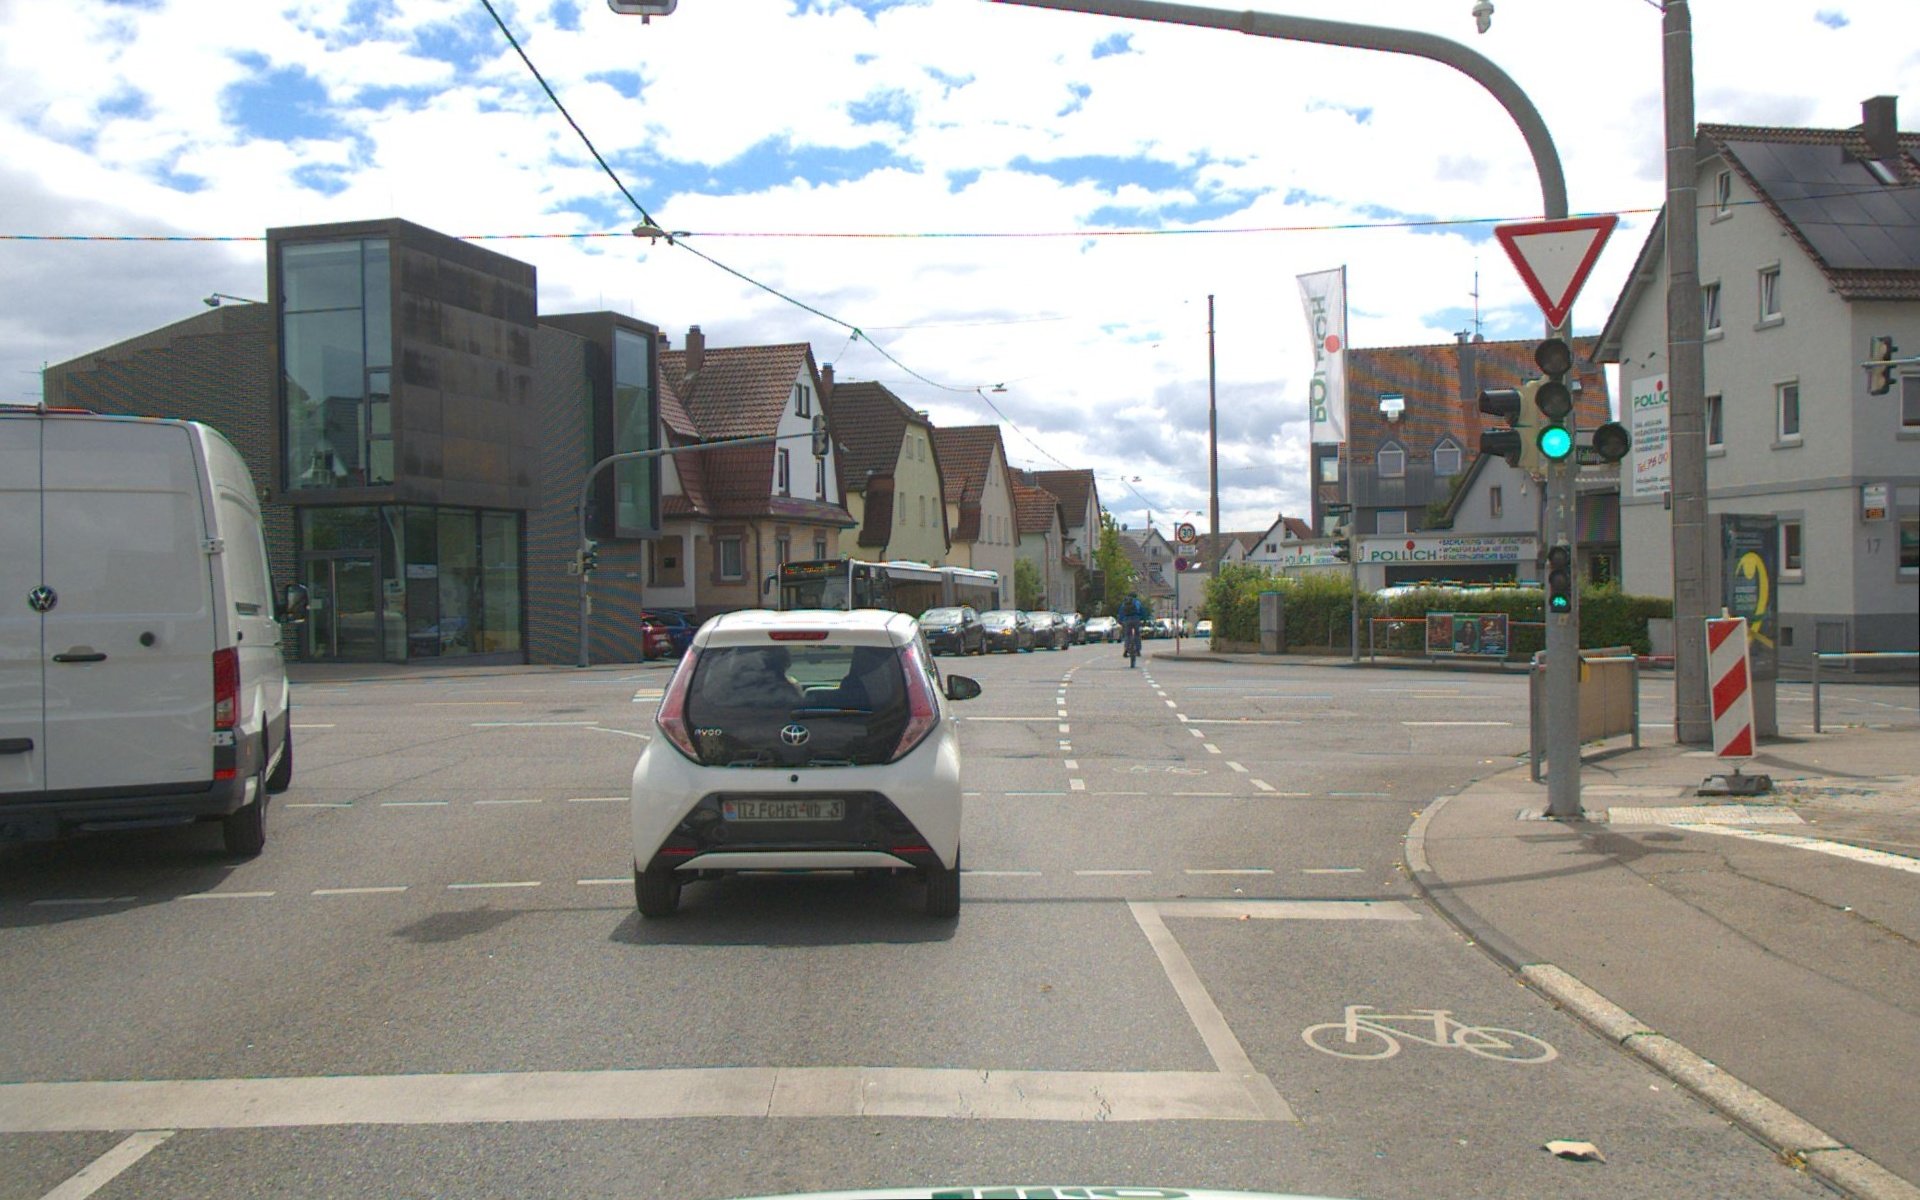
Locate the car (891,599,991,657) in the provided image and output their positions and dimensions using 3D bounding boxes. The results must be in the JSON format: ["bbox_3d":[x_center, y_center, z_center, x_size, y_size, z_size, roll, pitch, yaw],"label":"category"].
[{"bbox_3d":[-0.518,0.820,50.460,1.951,1.668,4.002,0,0,17],"label":"car"}]

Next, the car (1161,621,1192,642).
[{"bbox_3d":[17.879,2.576,136.510,1.951,1.668,4.002,0,0,17],"label":"car"}]

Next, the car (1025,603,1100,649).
[{"bbox_3d":[3.902,0.956,62.450,1.951,1.668,4.002,0,0,17],"label":"car"}]

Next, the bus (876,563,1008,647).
[{"bbox_3d":[-0.514,0.157,63.170,2.719,2.965,9.198,0,0,15],"label":"bus"}]

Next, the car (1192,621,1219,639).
[{"bbox_3d":[23.433,2.869,157.688,1.951,1.668,4.002,0,0,17],"label":"car"}]

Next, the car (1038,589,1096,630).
[{"bbox_3d":[5.460,0.457,84.038,1.952,2.049,4.001,0,0,19],"label":"car"}]

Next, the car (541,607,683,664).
[{"bbox_3d":[-11.020,1.093,52.416,3.902,1.668,2.002,1,0,13],"label":"car"}]

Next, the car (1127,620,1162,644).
[{"bbox_3d":[13.621,2.367,121.969,1.951,1.668,4.002,0,0,17],"label":"car"}]

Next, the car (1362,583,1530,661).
[{"bbox_3d":[13.091,0.592,44.663,3.913,2.049,1.996,0,0,-9],"label":"car"}]

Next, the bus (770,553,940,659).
[{"bbox_3d":[-3.164,0.163,53.218,2.719,3.114,9.198,0,0,15],"label":"bus"}]

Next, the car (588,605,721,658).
[{"bbox_3d":[-10.205,1.033,55.398,3.902,1.713,2.002,0,0,13],"label":"car"}]

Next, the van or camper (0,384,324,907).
[{"bbox_3d":[-5.570,0.239,11.026,2.075,2.632,5.617,-2,0,-18],"label":"van or camper"}]

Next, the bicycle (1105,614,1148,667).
[{"bbox_3d":[3.905,0.930,38.974,0.815,1.184,2.192,0,0,1],"label":"bicycle"}]

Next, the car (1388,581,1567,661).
[{"bbox_3d":[13.202,0.538,42.284,3.914,1.982,1.995,0,-1,-10],"label":"car"}]

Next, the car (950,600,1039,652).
[{"bbox_3d":[1.220,0.830,55.622,1.951,1.668,4.186,0,0,16],"label":"car"}]

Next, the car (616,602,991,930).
[{"bbox_3d":[-0.736,0.758,9.291,1.703,1.486,3.531,0,0,-1],"label":"car"}]

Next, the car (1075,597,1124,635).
[{"bbox_3d":[7.826,0.891,92.290,1.951,2.049,4.002,0,0,17],"label":"car"}]

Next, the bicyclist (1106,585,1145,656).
[{"bbox_3d":[3.903,0.484,39.002,0.823,1.642,1.083,0,0,1],"label":"bicyclist"}]
